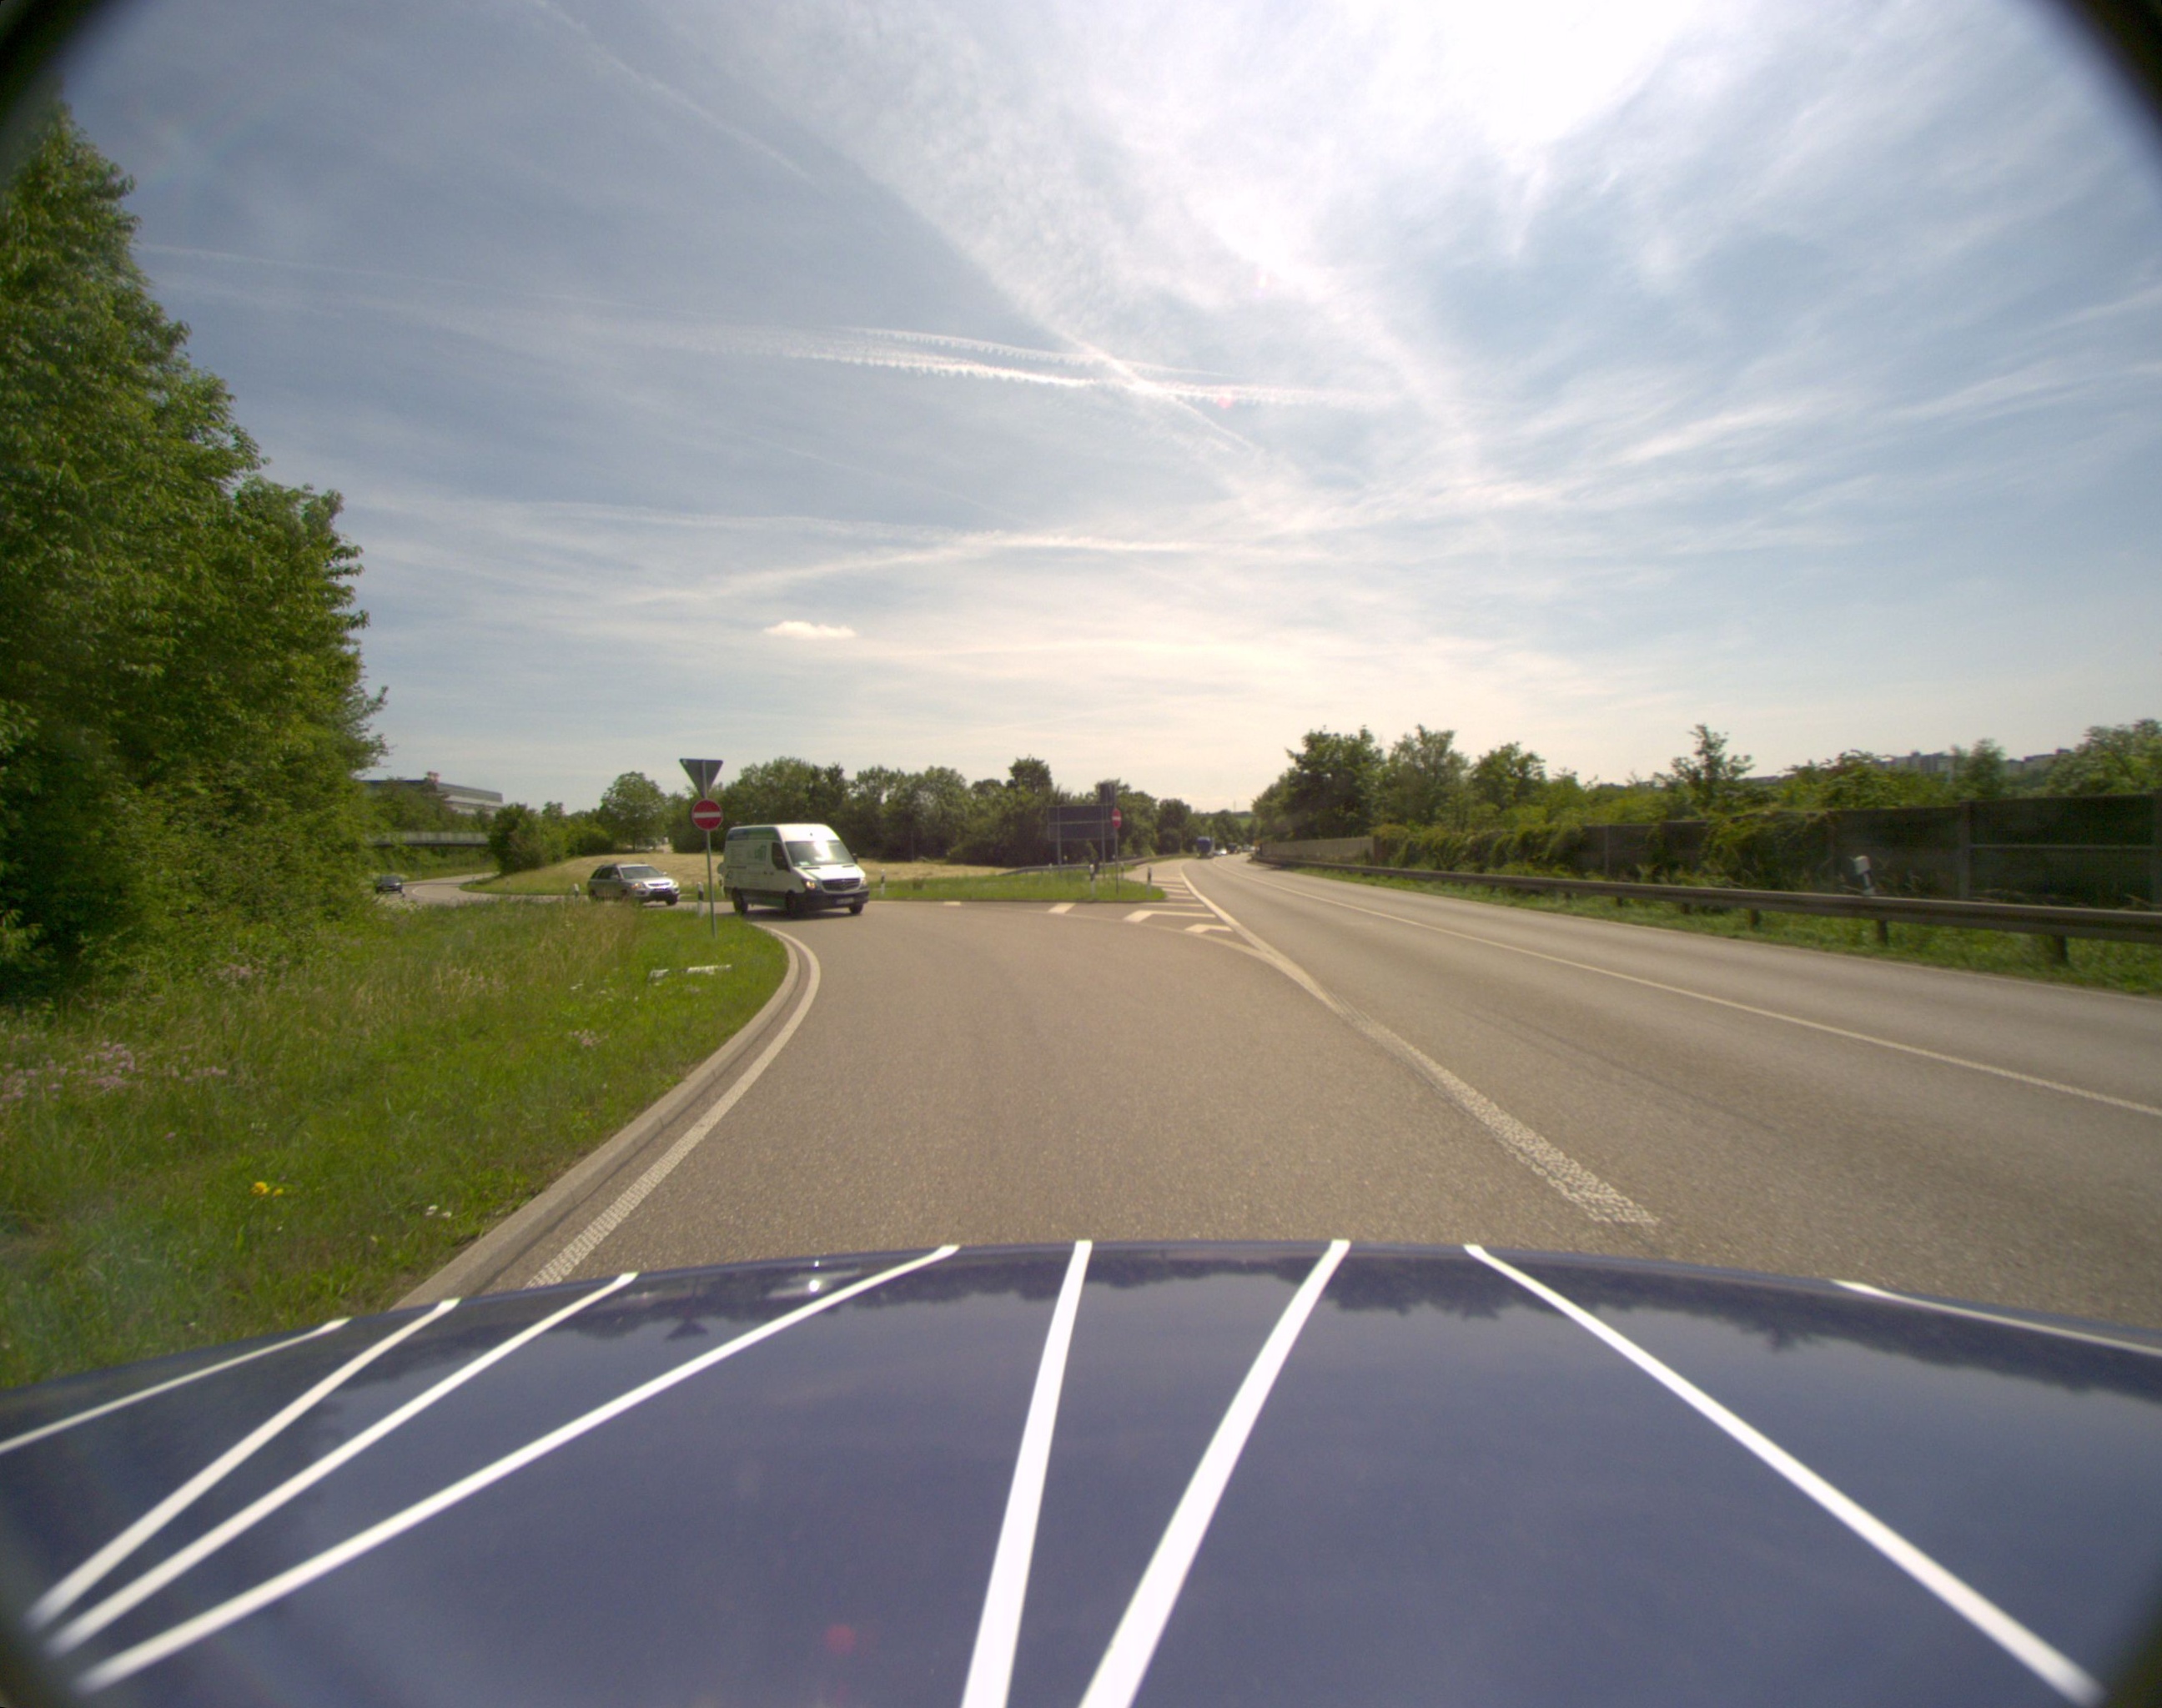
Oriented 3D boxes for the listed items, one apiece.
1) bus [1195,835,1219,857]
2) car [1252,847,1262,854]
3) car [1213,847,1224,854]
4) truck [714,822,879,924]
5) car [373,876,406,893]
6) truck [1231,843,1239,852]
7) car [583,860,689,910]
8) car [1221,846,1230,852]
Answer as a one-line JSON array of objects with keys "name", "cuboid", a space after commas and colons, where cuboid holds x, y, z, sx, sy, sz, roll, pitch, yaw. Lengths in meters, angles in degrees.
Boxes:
[{"name": "bus", "cuboid": [23.490, -1.499, 141.185, 3.347, 4.045, 10.523, -1, 1, 15]}, {"name": "car", "cuboid": [38.928, -0.744, 167.861, 1.752, 1.530, 4.112, -2, 1, 19]}, {"name": "car", "cuboid": [32.690, -0.860, 180.679, 1.996, 1.632, 4.005, -1, 0, 17]}, {"name": "truck", "cuboid": [-8.372, 0.486, 21.971, 5.870, 2.571, 2.004, -1, 2, 44]}, {"name": "car", "cuboid": [-63.875, 2.811, 70.148, 3.926, 1.414, 1.964, -2, -1, 44]}, {"name": "truck", "cuboid": [45.196, -1.975, 223.260, 1.996, 2.584, 5.825, -1, 1, 14]}, {"name": "car", "cuboid": [-17.218, 1.188, 29.346, 4.078, 1.699, 1.853, -2, 2, 34]}, {"name": "car", "cuboid": [37.919, -1.280, 199.558, 1.996, 1.636, 4.004, -1, 0, 14]}]
